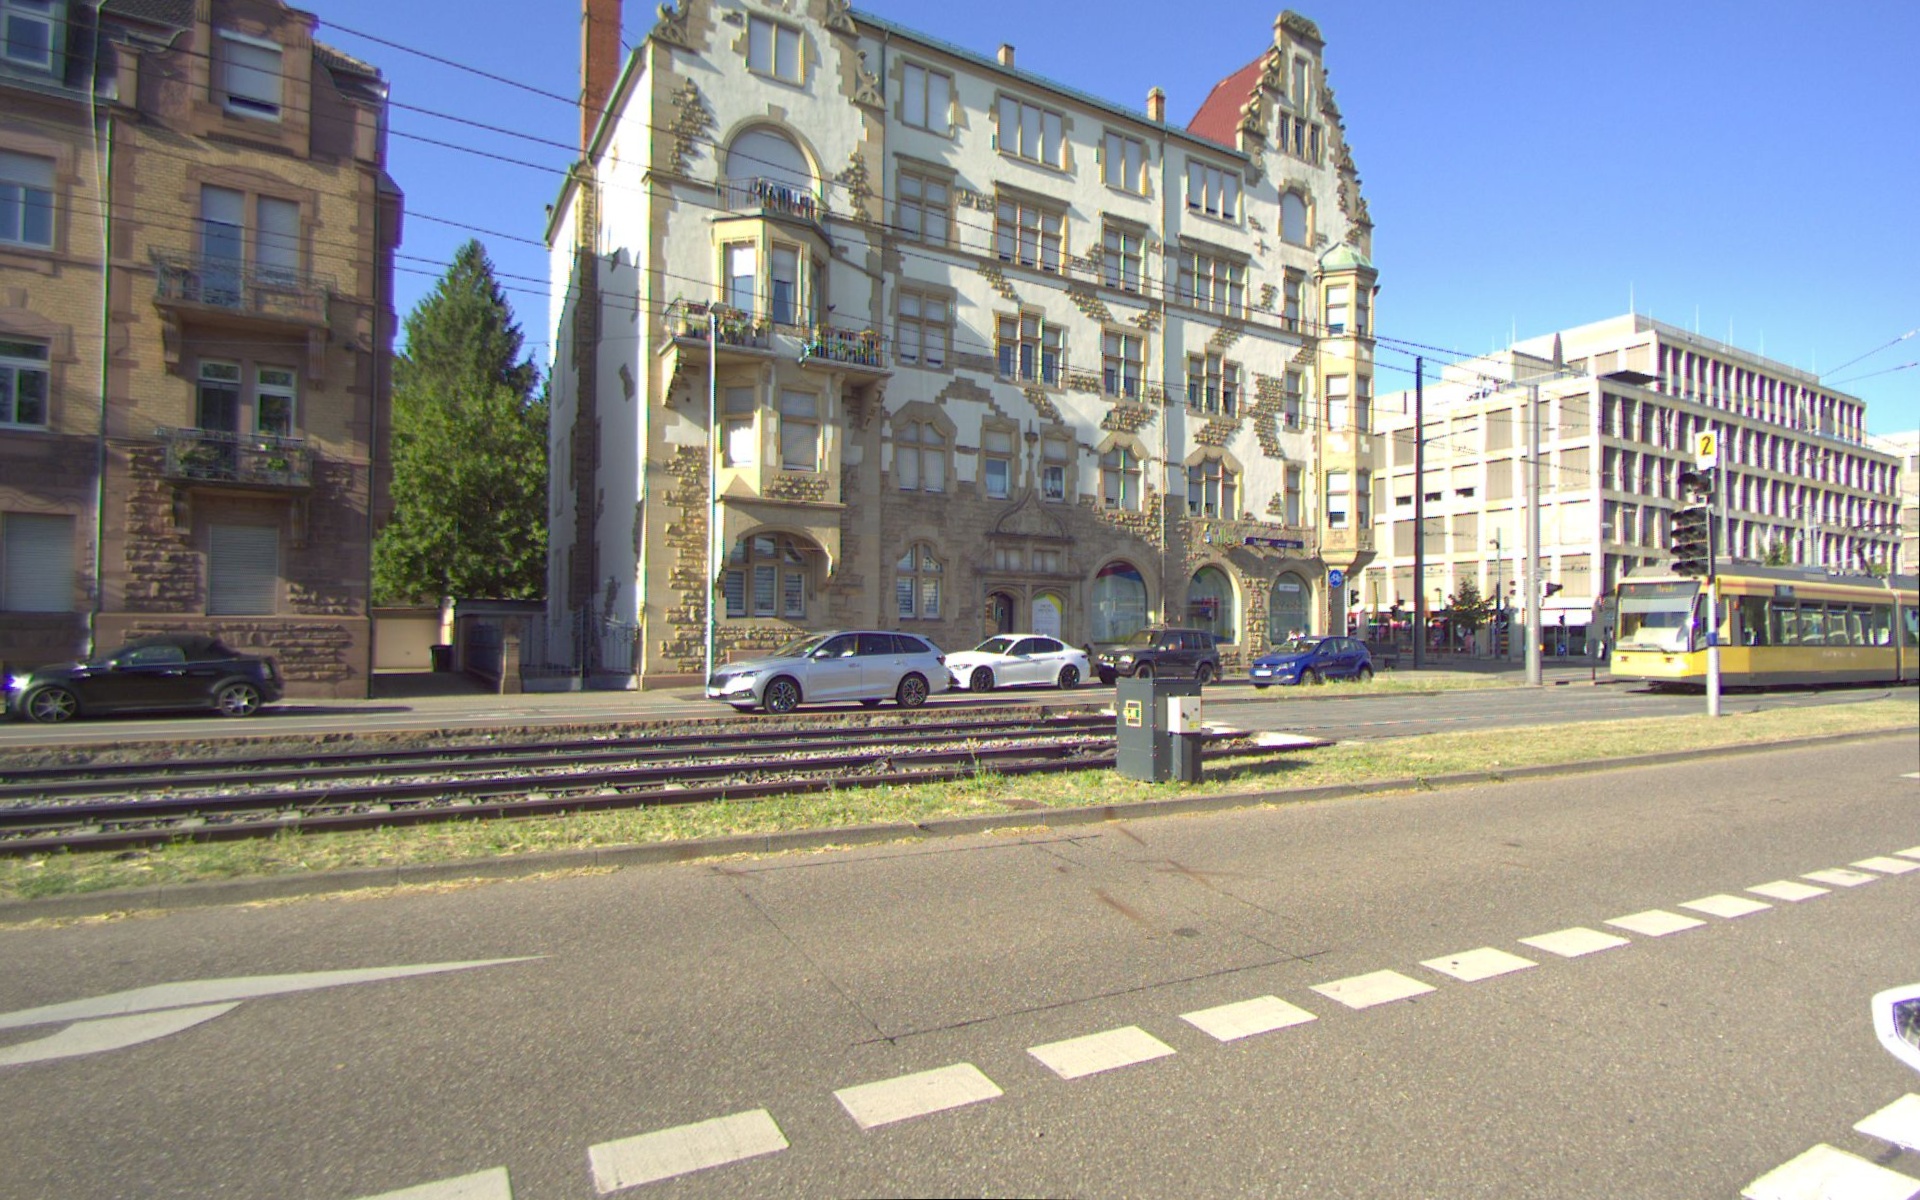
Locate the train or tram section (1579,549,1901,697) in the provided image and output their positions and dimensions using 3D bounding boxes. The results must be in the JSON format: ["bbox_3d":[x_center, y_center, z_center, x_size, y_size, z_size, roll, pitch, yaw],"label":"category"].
[{"bbox_3d":[22.567,0.736,28.613,13.053,3.535,2.799,2,-2,-31],"label":"train or tram section"}]

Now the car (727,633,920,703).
[{"bbox_3d":[-3.175,1.544,23.637,4.179,1.450,1.699,1,0,-34],"label":"car"}]

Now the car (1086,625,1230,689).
[{"bbox_3d":[5.870,1.640,29.622,4.171,1.698,1.707,1,0,-33],"label":"car"}]

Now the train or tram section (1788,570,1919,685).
[{"bbox_3d":[33.714,1.036,35.431,13.053,3.535,2.799,2,-2,-31],"label":"train or tram section"}]

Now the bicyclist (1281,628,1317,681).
[{"bbox_3d":[10.323,1.668,30.573,0.776,1.583,0.682,1,-3,-30],"label":"bicyclist"}]

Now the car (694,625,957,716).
[{"bbox_3d":[-2.398,1.248,18.489,4.495,1.476,1.808,2,-3,-35],"label":"car"}]

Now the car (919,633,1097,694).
[{"bbox_3d":[1.329,1.648,26.789,4.606,1.442,1.707,1,0,-33],"label":"car"}]

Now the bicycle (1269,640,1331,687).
[{"bbox_3d":[10.348,1.916,30.581,1.924,1.400,0.682,2,-3,-30],"label":"bicycle"}]

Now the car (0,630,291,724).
[{"bbox_3d":[-13.684,1.250,17.127,3.685,1.372,1.613,1,1,-32],"label":"car"}]

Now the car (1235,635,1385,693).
[{"bbox_3d":[9.527,1.700,27.284,4.116,1.476,1.808,2,-3,-35],"label":"car"}]
